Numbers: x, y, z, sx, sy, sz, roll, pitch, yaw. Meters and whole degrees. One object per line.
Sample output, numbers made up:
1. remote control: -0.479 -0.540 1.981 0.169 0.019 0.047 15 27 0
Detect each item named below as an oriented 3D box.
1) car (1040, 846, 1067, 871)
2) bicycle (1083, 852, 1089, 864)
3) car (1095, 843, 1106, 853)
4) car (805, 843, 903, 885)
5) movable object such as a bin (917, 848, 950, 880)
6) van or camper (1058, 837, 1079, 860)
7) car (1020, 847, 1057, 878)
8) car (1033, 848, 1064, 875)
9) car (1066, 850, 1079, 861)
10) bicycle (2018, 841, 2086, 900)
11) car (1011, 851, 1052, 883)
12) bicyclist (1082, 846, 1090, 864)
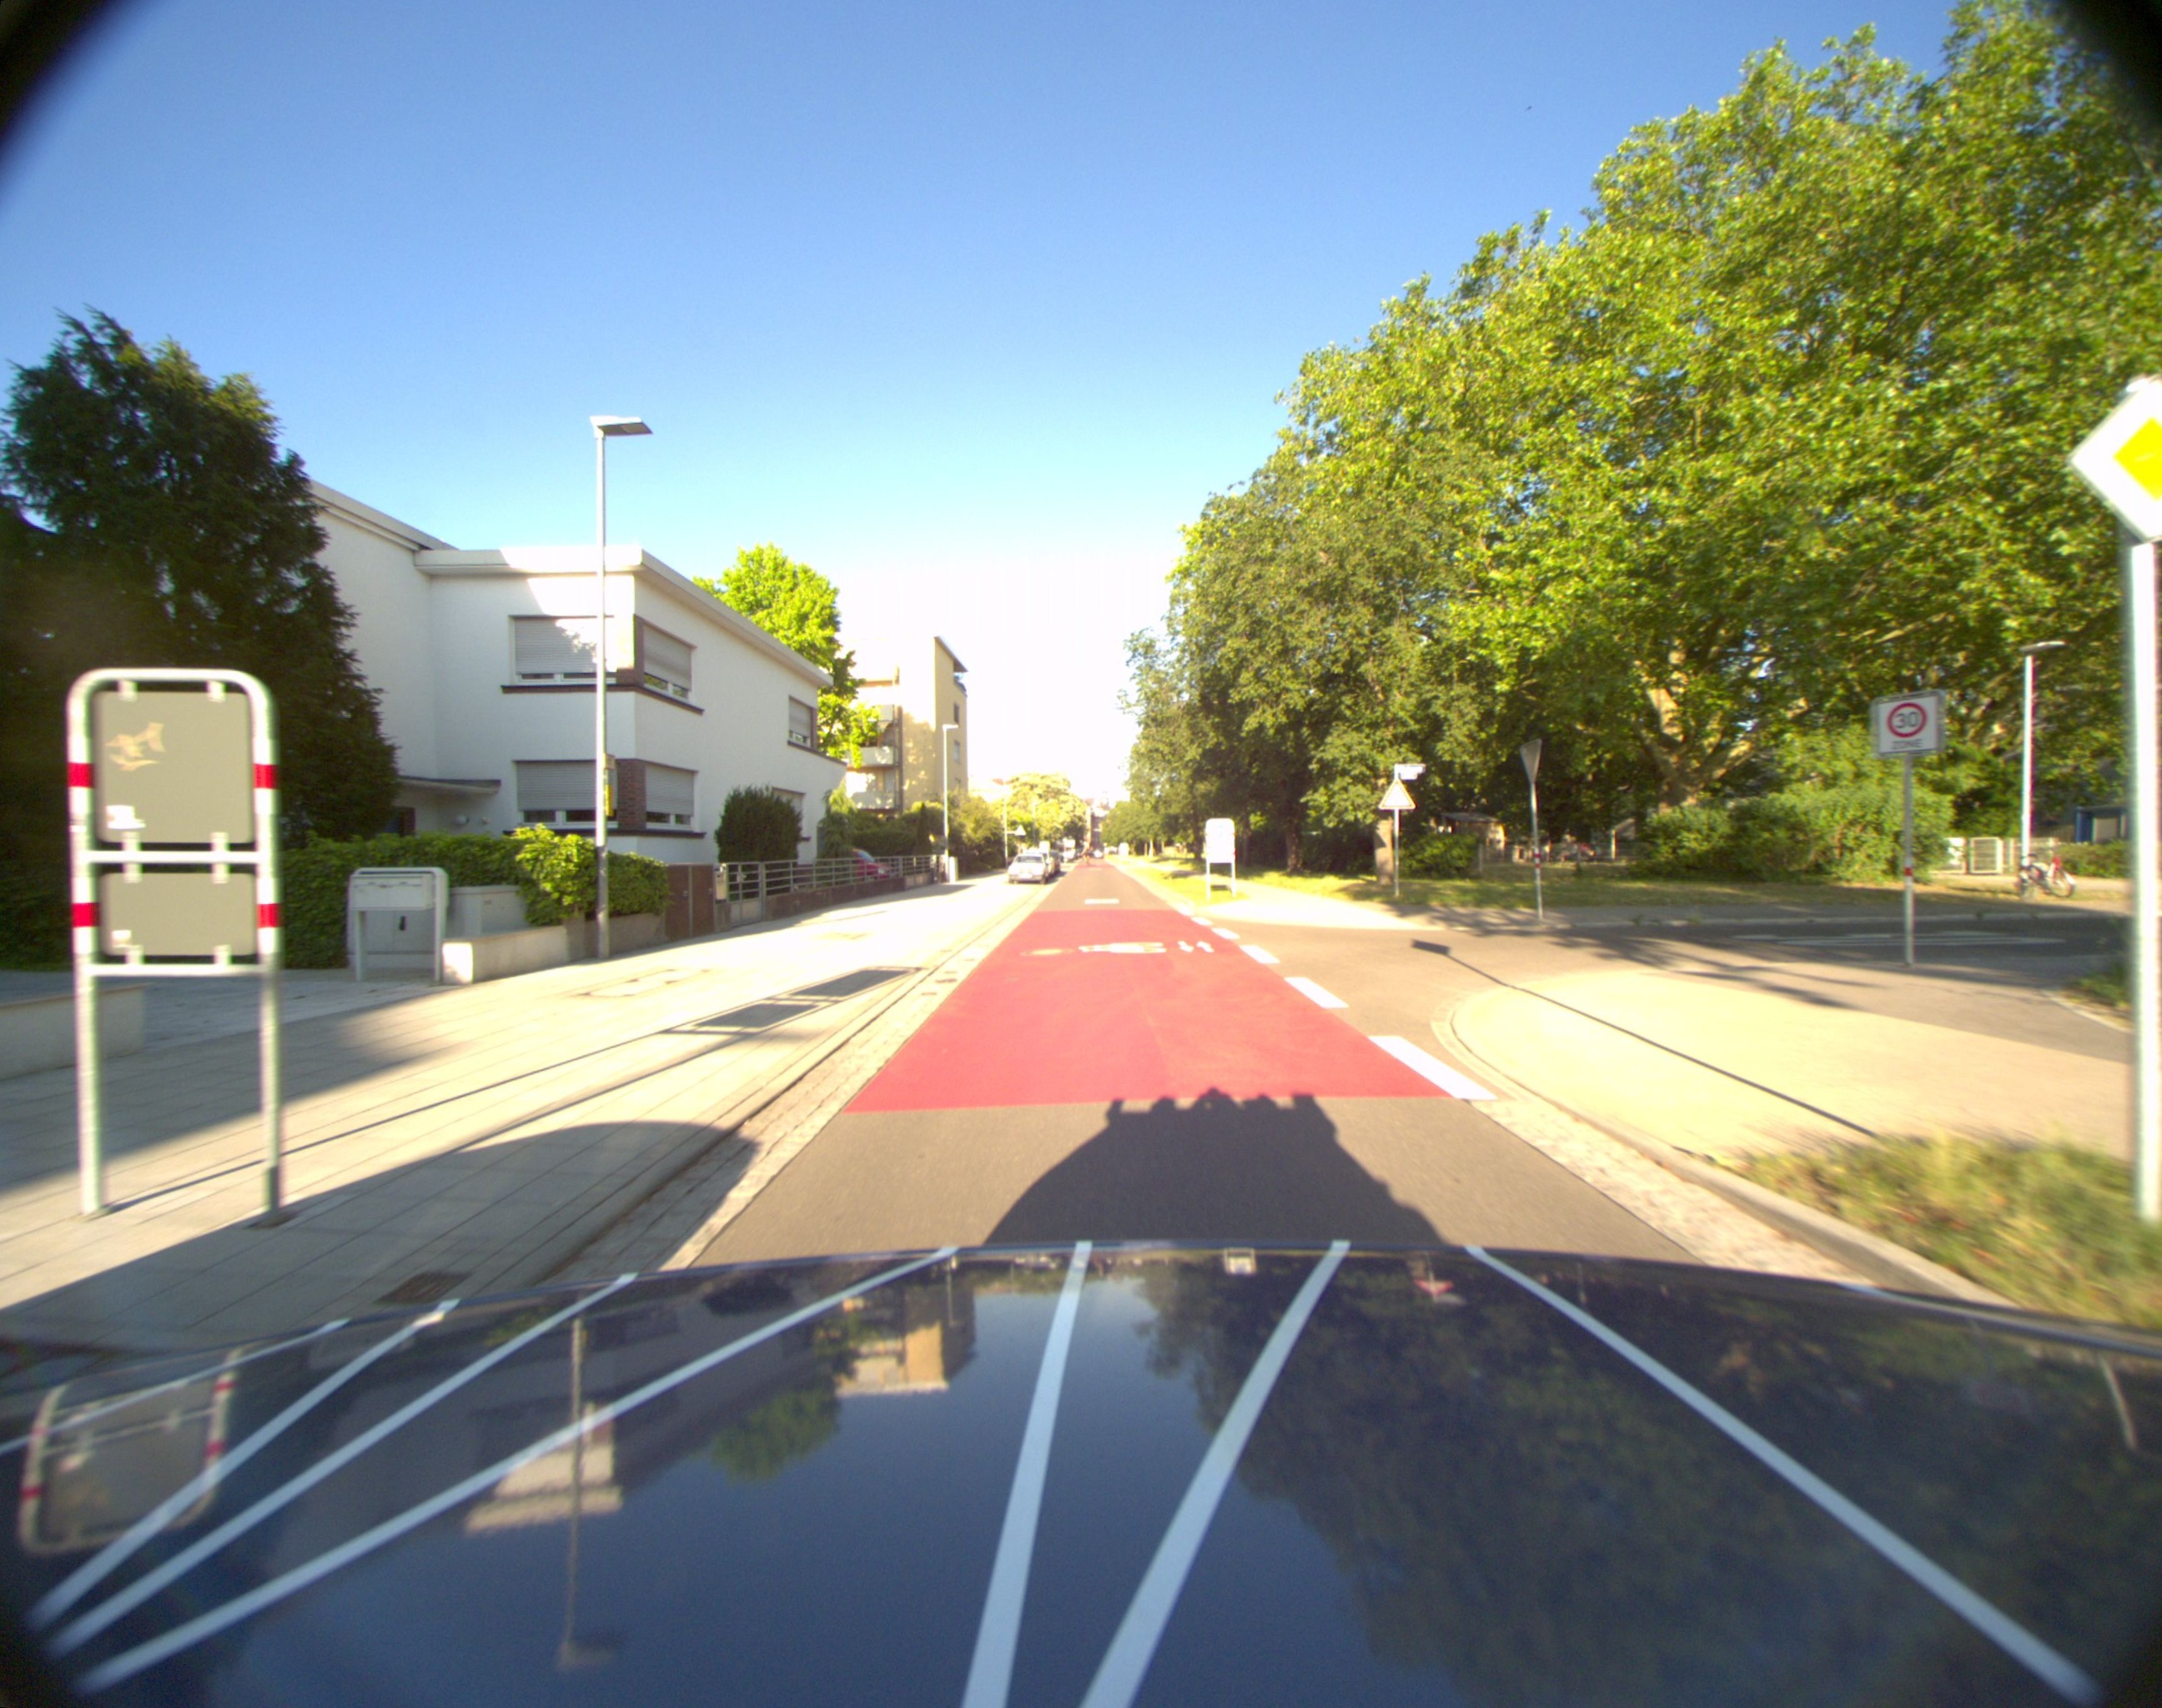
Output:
1. car: -1.892 0.295 52.575 1.714 1.601 4.168 1 1 0
2. bicycle: 0.498 0.385 69.863 0.558 1.026 1.914 0 2 0
3. car: 3.742 -1.090 146.068 1.848 1.837 4.572 -1 1 -1
4. car: -9.368 0.398 31.494 3.499 1.632 1.644 -1 1 9
5. movable object such as a bin: -6.805 0.472 35.165 1.240 1.424 1.123 -1 1 3
6. van or camper: -1.540 -0.731 93.921 2.427 2.767 5.951 1 1 0
7. car: -2.276 0.431 41.776 1.682 1.547 4.130 1 1 2
8. car: -1.939 0.410 46.656 1.683 1.547 4.143 1 1 0
9. car: -1.338 0.235 118.921 1.998 1.501 3.999 -2 1 0
10. bicycle: 20.468 0.323 16.012 1.591 1.180 0.419 -1 2 -22
11. car: -2.291 0.580 36.069 1.567 1.382 4.374 1 1 1
12. bicyclist: 0.474 0.063 69.712 0.683 1.663 1.172 0 2 0
